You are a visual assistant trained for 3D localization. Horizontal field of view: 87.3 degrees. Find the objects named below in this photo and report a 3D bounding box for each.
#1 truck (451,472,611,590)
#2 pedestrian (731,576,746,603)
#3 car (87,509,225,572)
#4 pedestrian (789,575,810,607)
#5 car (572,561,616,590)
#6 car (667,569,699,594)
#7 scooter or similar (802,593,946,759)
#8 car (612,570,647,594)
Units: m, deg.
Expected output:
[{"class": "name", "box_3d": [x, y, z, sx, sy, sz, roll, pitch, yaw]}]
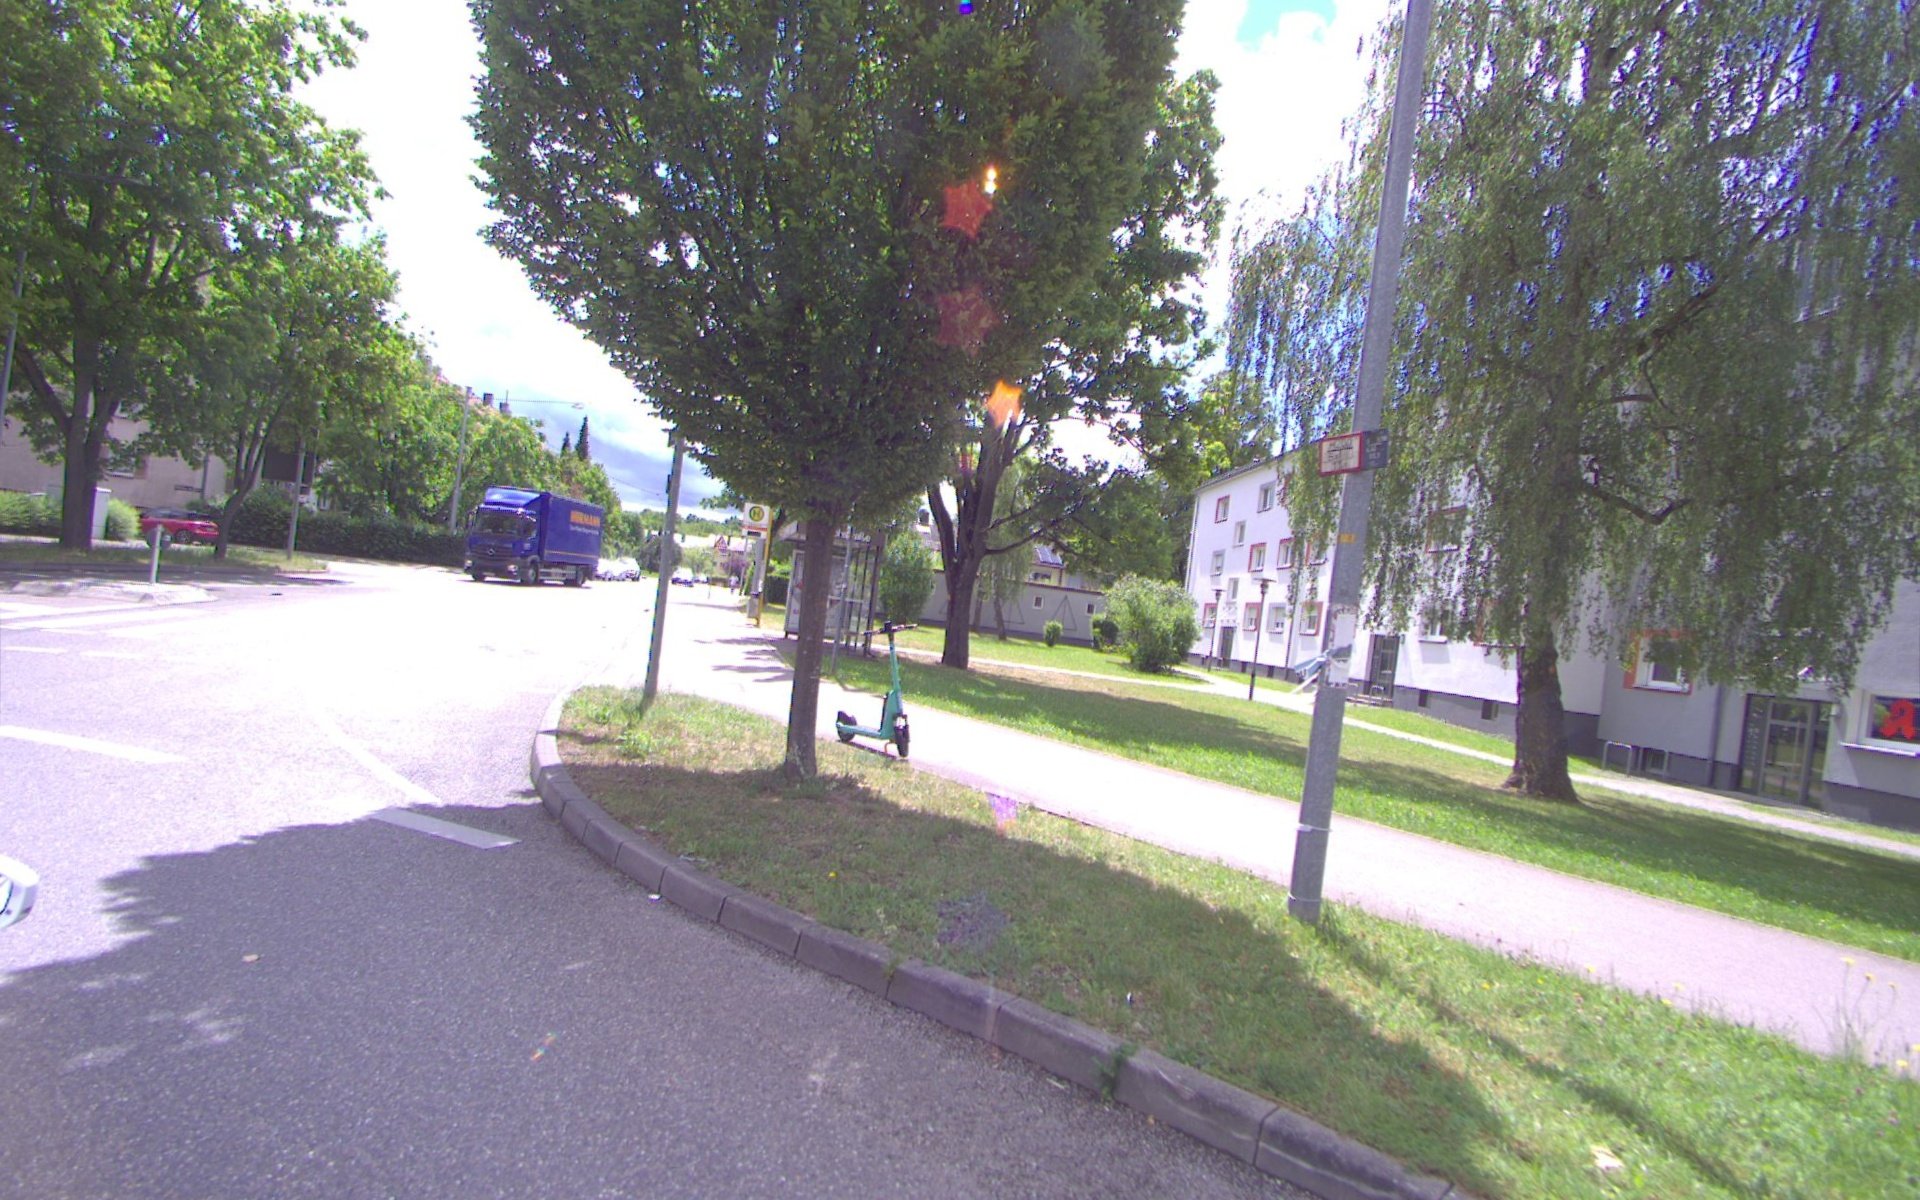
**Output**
[{"class": "truck", "box_3d": [-19.042, -2.837, 45.560, 2.738, 4.203, 9.798, 7, -1, 0]}, {"class": "pedestrian", "box_3d": [-17.817, -0.829, 80.942, 1.007, 2.039, 1.039, 7, 1, -12]}, {"class": "car", "box_3d": [-34.153, -2.487, 42.849, 3.931, 1.964, 2.017, 8, -1, -7]}, {"class": "pedestrian", "box_3d": [-8.543, -0.487, 53.608, 0.887, 1.602, 0.660, 7, 1, -2]}, {"class": "car", "box_3d": [-24.889, -1.655, 68.526, 1.967, 1.571, 3.994, 8, -2, -11]}, {"class": "car", "box_3d": [-24.933, -1.661, 90.645, 1.966, 1.801, 3.997, 8, -2, -7]}, {"class": "scooter or similar", "box_3d": [-0.854, 0.703, 9.676, 0.483, 1.360, 1.371, 5, 3, -43]}, {"class": "car", "box_3d": [-26.367, -1.430, 80.451, 1.967, 1.571, 3.994, 8, -2, -11]}]
